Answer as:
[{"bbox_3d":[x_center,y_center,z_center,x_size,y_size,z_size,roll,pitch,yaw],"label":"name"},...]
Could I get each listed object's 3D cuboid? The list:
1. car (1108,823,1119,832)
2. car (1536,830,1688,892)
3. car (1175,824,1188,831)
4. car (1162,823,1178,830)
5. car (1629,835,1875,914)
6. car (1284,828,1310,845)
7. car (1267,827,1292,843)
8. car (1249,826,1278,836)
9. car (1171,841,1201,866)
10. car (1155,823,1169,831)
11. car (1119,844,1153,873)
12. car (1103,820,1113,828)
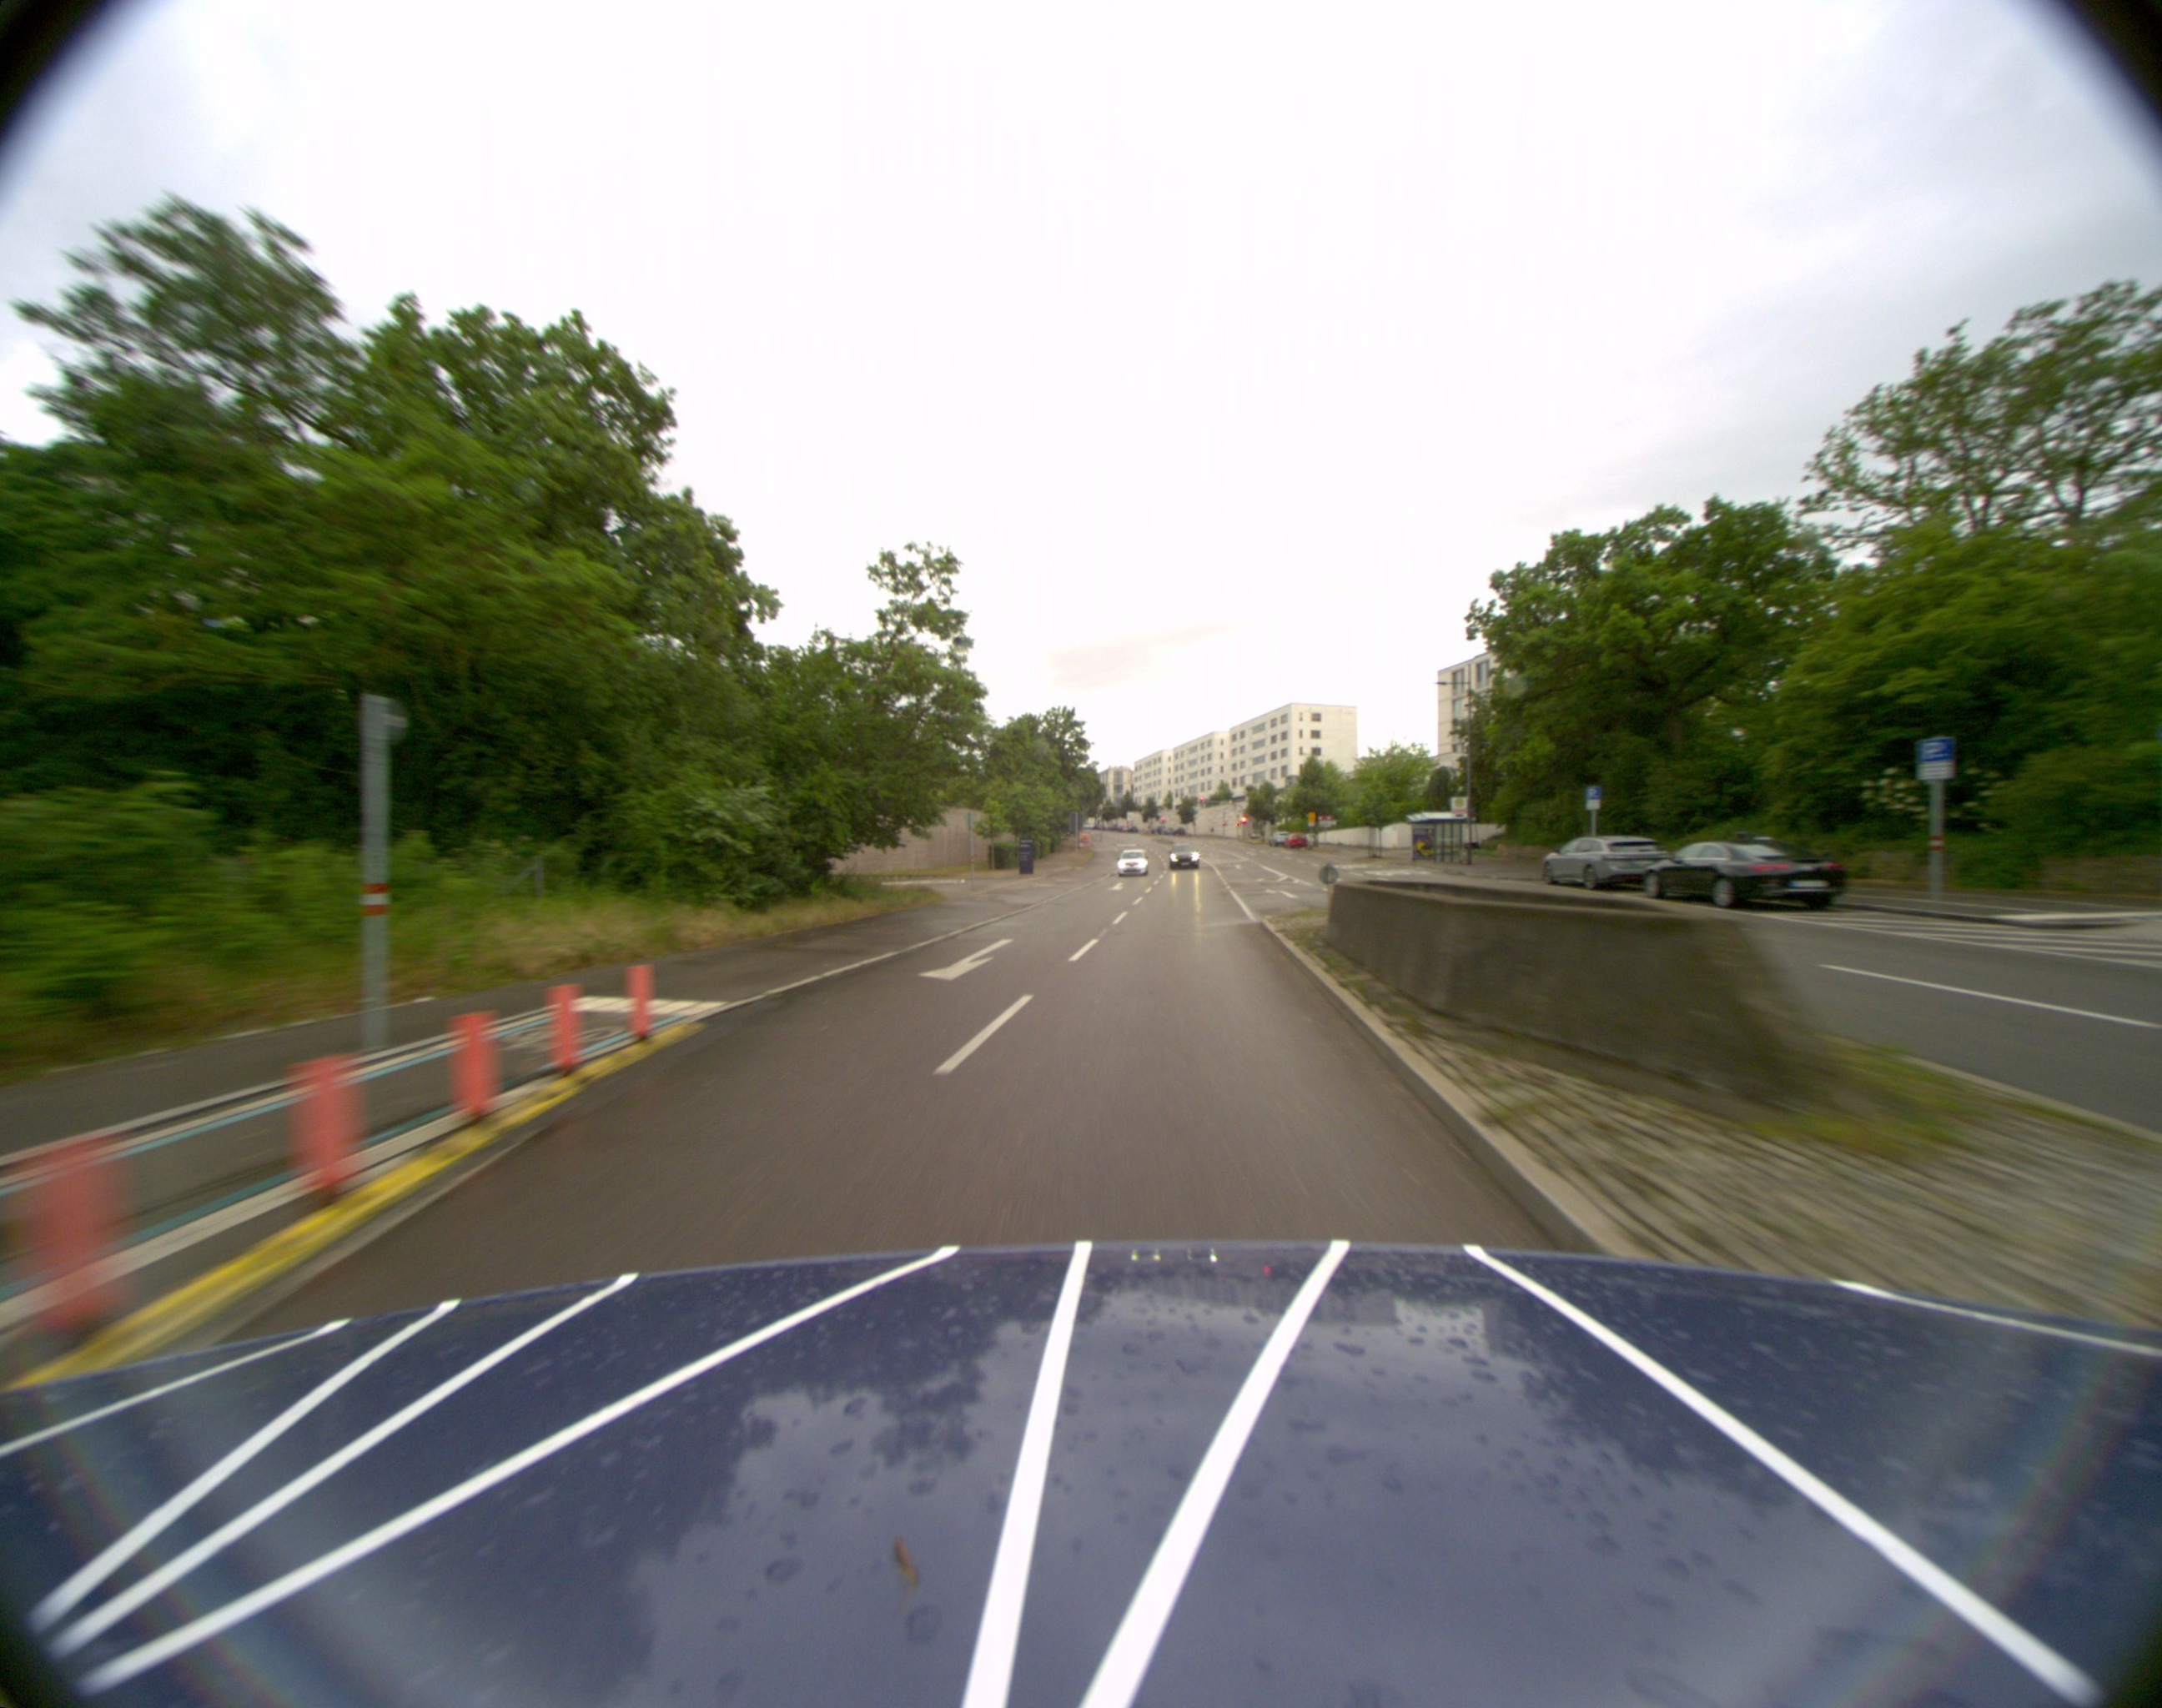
[{"bbox_3d":[8.411,-6.840,195.591,1.926,2.002,4.380,-2,2,-11],"label":"car"},{"bbox_3d":[15.698,0.111,22.810,1.844,1.580,4.931,-3,1,11],"label":"car"},{"bbox_3d":[19.840,-5.197,149.511,1.682,1.451,2.691,-1,3,-15],"label":"car"},{"bbox_3d":[18.159,-5.596,155.300,1.864,1.470,3.993,-2,3,-14],"label":"car"},{"bbox_3d":[14.511,0.340,16.884,1.909,1.406,4.785,-3,1,11],"label":"car"},{"bbox_3d":[22.055,-1.793,77.866,1.668,1.578,4.215,-1,3,3],"label":"car"},{"bbox_3d":[22.209,-2.155,85.153,1.768,1.644,4.882,-3,3,3],"label":"car"},{"bbox_3d":[31.962,-4.012,133.108,4.348,1.643,1.996,-1,3,-15],"label":"car"},{"bbox_3d":[7.322,-0.058,53.197,1.829,1.584,4.000,-3,1,5],"label":"car"},{"bbox_3d":[17.019,-5.766,159.637,1.791,1.623,3.993,-1,3,-14],"label":"car"},{"bbox_3d":[3.413,0.254,46.410,1.926,1.652,4.001,-2,1,6],"label":"car"},{"bbox_3d":[7.401,-8.270,209.070,1.926,2.002,4.380,-2,2,-11],"label":"car"}]
